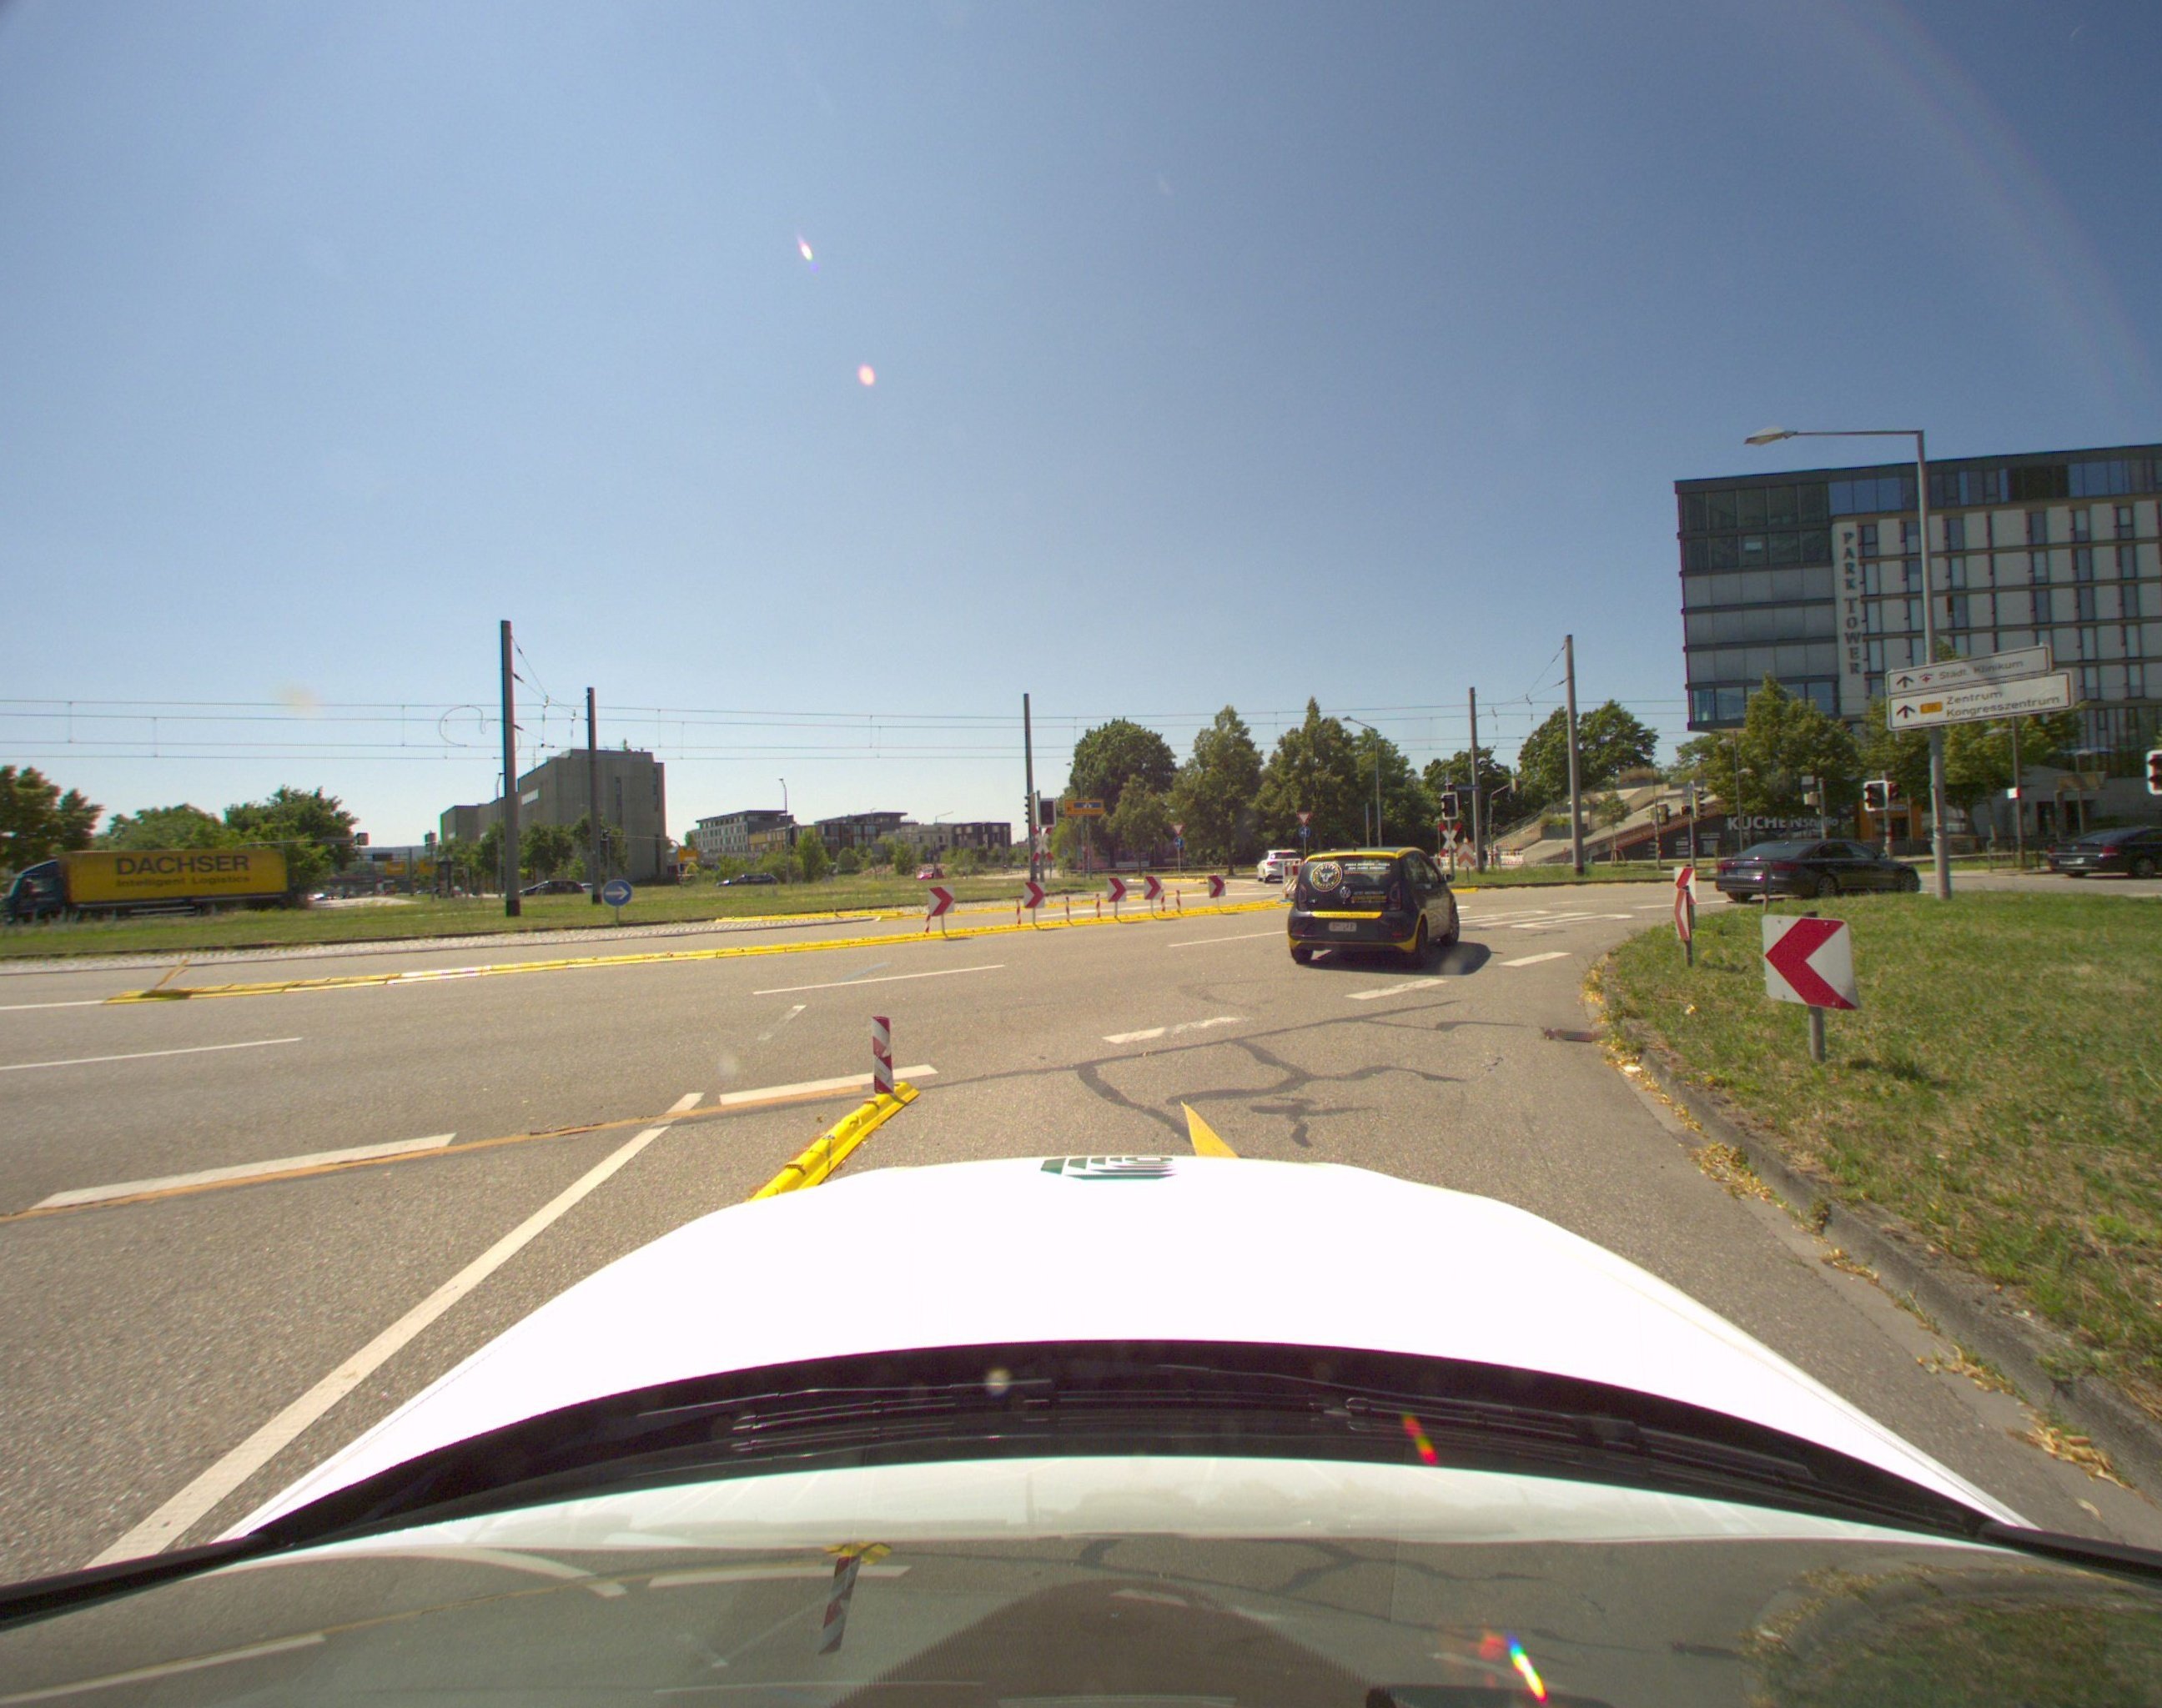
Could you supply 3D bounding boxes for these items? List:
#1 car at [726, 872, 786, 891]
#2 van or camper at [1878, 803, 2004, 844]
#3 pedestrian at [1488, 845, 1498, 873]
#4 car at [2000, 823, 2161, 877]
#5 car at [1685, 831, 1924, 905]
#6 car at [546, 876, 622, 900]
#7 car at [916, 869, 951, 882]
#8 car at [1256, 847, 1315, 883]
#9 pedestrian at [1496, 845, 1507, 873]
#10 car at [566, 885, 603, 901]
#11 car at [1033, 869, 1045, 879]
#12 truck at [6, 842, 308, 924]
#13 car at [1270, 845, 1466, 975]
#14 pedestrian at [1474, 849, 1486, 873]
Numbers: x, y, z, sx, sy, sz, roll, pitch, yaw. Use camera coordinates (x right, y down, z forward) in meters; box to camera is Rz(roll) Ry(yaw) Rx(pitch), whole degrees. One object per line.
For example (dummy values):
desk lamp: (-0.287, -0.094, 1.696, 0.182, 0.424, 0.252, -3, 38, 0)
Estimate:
car: (-26.564, 2.267, 66.674, 4.484, 1.319, 1.986, -2, 0, -21)
van or camper: (64.737, -2.268, 61.410, 6.737, 2.822, 2.385, -2, -1, 2)
pedestrian: (25.730, 0.327, 50.875, 0.445, 1.739, 0.291, -2, -1, 4)
car: (29.972, -0.131, 23.360, 4.720, 1.449, 2.003, -1, -1, 5)
car: (16.475, 0.283, 18.585, 4.648, 1.449, 1.988, -2, -1, -18)
car: (-34.068, 2.320, 55.871, 1.707, 1.461, 4.074, -2, -1, 39)
car: (-14.353, 2.087, 79.463, 1.479, 1.089, 3.541, -2, 0, 28)
car: (9.299, 0.468, 37.334, 1.983, 1.486, 4.374, -2, -1, 6)
pedestrian: (26.259, 0.319, 50.880, 0.445, 1.739, 0.318, -2, -1, 4)
car: (-51.874, 4.105, 85.132, 3.948, 1.618, 2.013, -2, -2, 38)
car: (-6.752, 3.171, 130.184, 1.652, 1.372, 3.033, -2, -1, 2)
truck: (-45.998, 1.269, 41.105, 2.672, 3.659, 9.677, -2, -1, 31)
car: (4.093, 0.639, 11.188, 1.603, 1.451, 4.012, -2, -1, 33)
pedestrian: (24.568, 0.415, 50.183, 0.518, 1.429, 0.352, -2, -1, 2)
